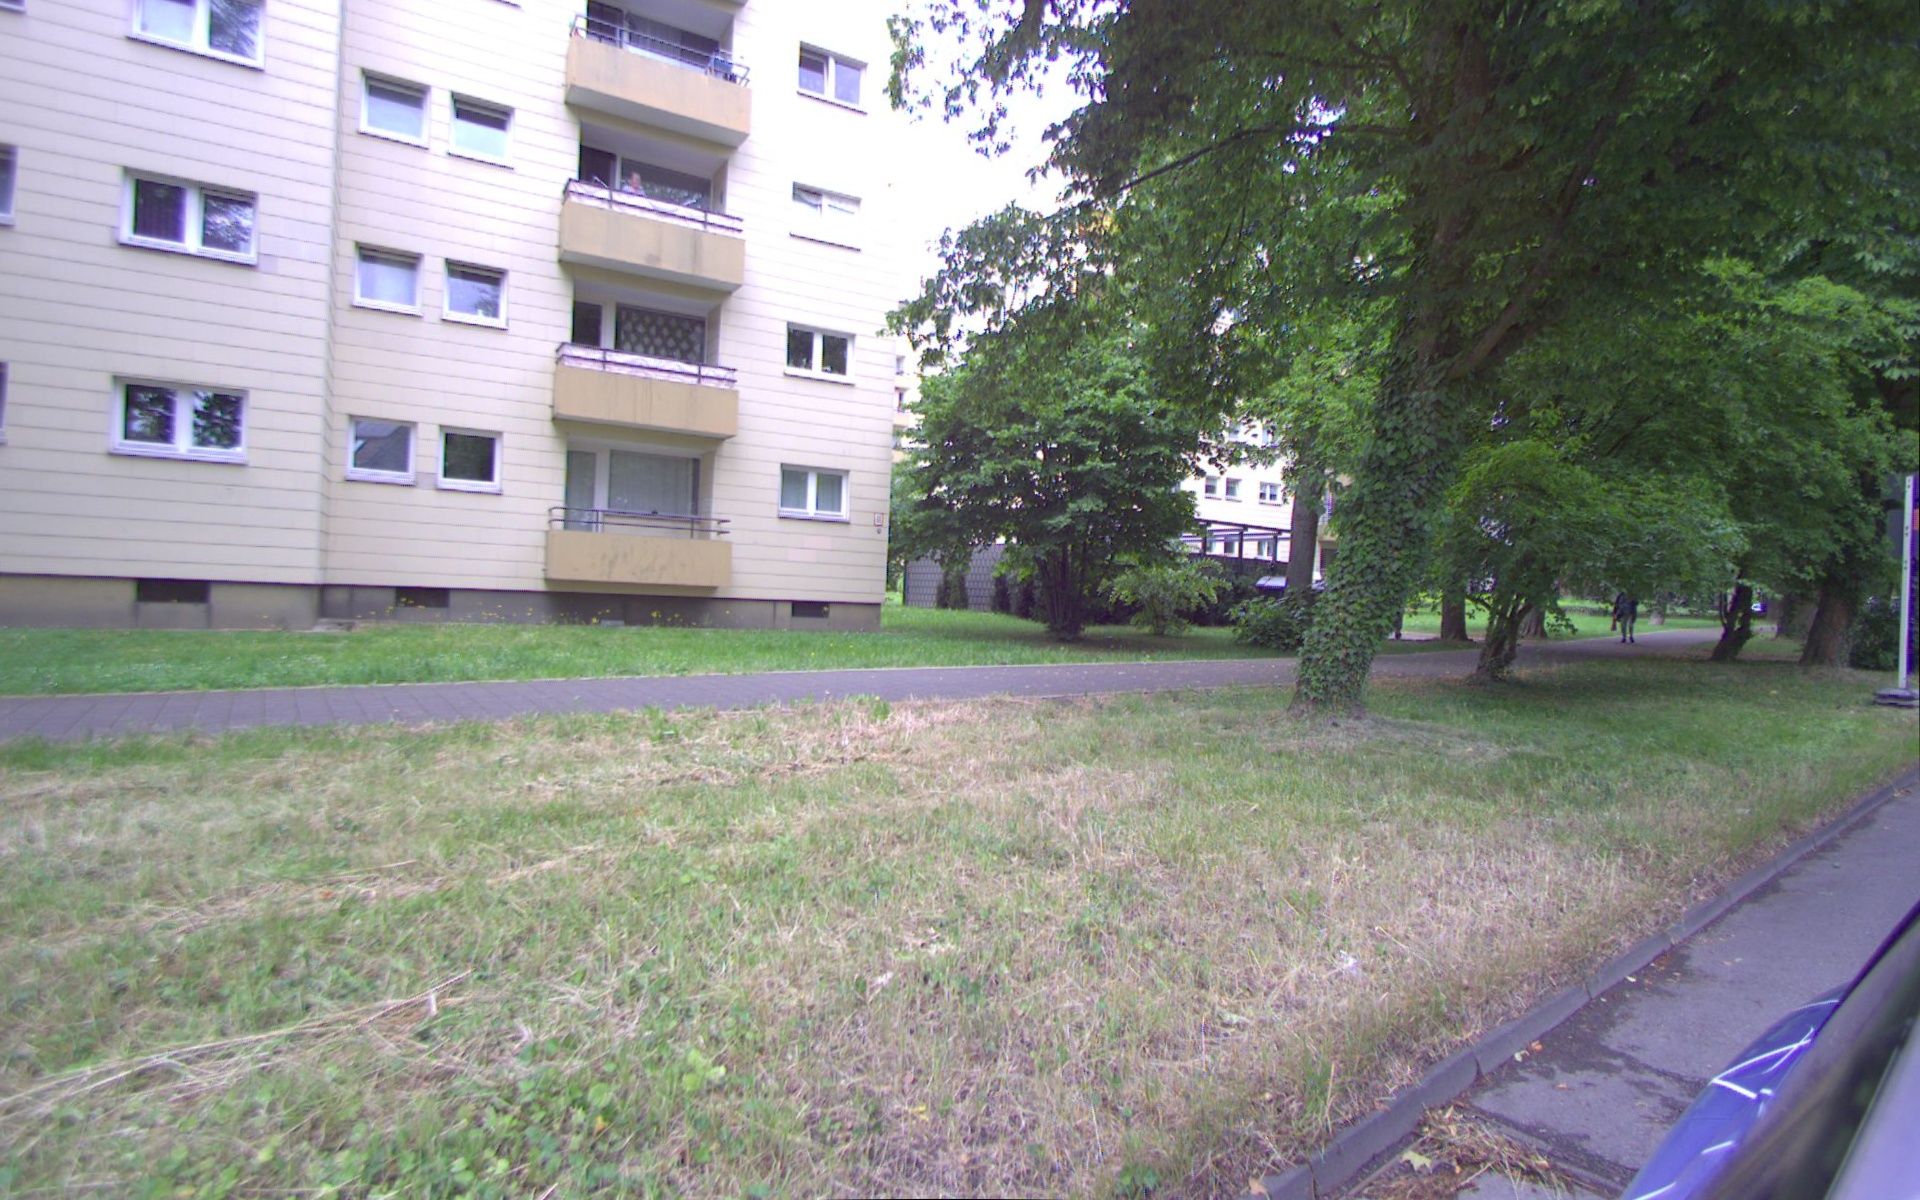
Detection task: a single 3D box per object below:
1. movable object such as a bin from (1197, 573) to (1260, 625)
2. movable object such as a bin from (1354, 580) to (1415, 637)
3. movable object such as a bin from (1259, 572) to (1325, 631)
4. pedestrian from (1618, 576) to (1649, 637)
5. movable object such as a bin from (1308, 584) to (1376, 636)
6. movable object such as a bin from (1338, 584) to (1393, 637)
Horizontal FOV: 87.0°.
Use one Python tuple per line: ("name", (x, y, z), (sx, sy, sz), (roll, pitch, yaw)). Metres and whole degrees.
("movable object such as a bin", (7.415, -0.029, 27.913), (1.190, 1.358, 1.328), (3, 2, 41))
("movable object such as a bin", (11.355, 0.207, 27.061), (1.190, 1.431, 1.094), (3, 2, 41))
("movable object such as a bin", (8.677, 0.030, 26.441), (1.190, 1.475, 1.328), (3, 2, 41))
("pedestrian", (19.861, 0.182, 29.856), (0.560, 1.761, 0.565), (1, 2, -41))
("movable object such as a bin", (9.666, 0.245, 25.569), (1.190, 1.236, 1.328), (3, 2, 41))
("movable object such as a bin", (10.554, 0.267, 26.343), (1.022, 1.320, 0.946), (3, 2, 41))
